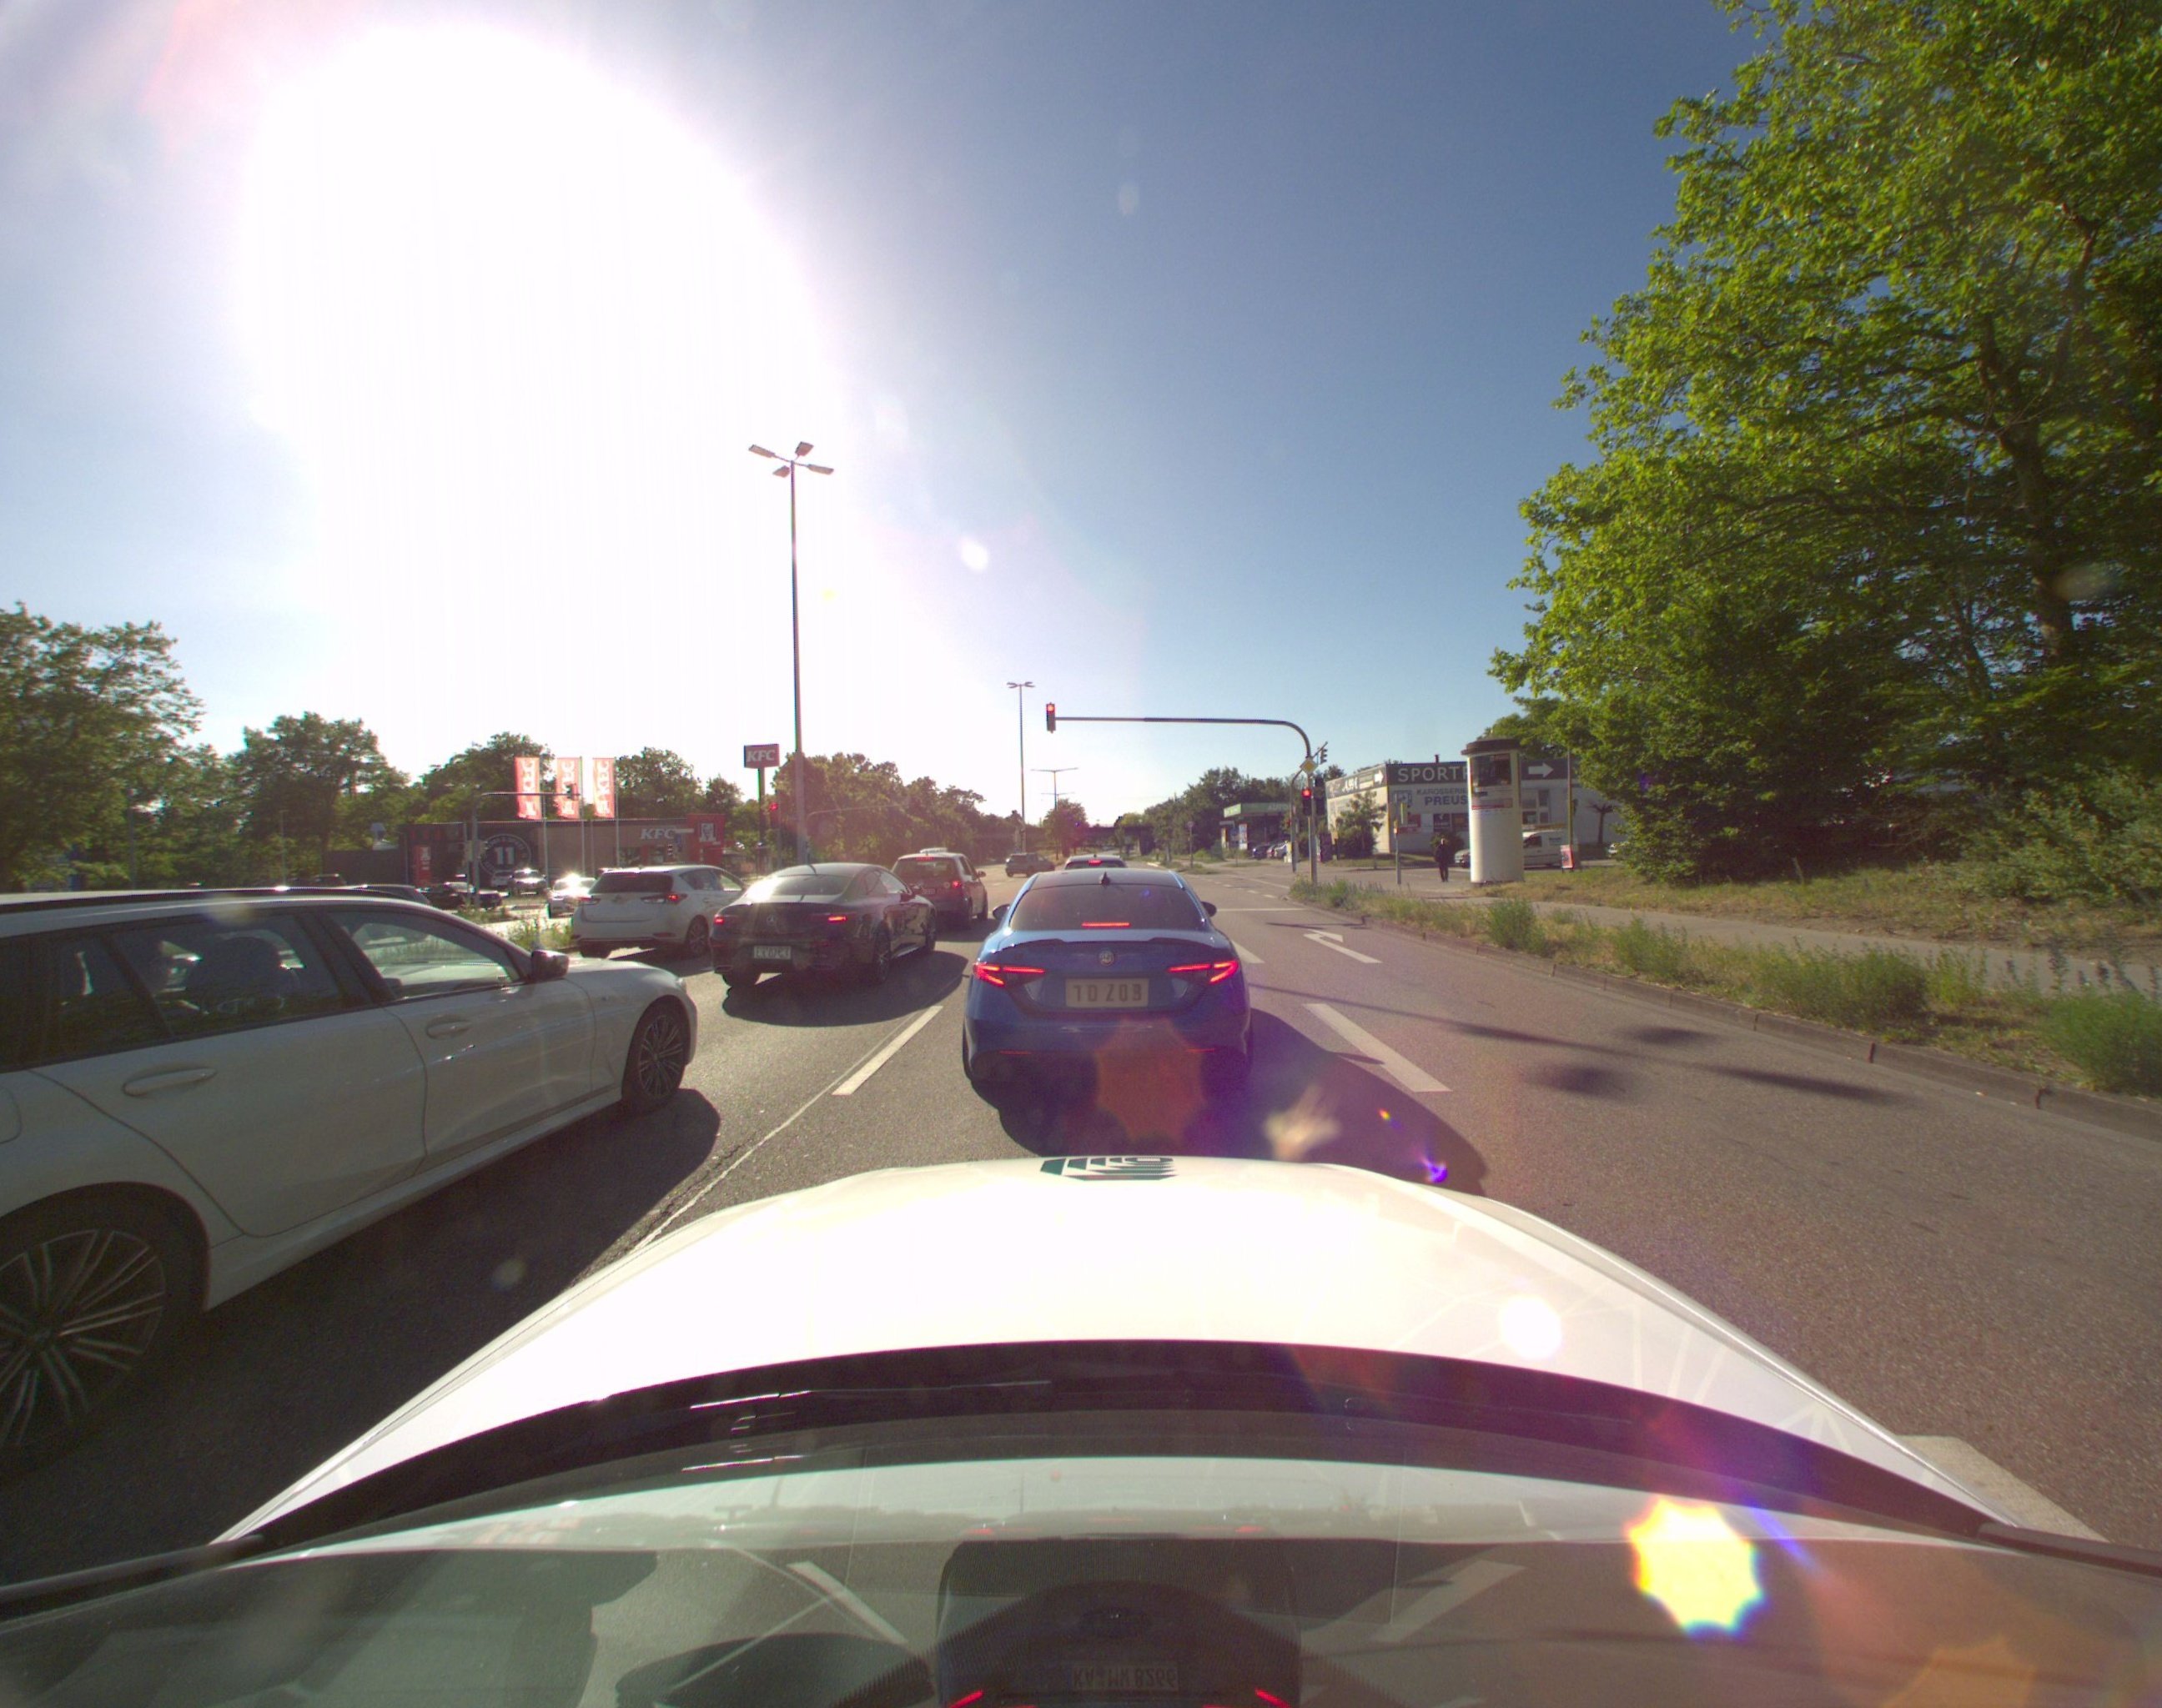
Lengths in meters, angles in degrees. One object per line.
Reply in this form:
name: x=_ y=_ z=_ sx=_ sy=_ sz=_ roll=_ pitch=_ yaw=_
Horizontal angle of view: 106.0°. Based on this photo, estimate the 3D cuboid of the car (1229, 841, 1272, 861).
car: x=15.378 y=-0.250 z=73.961 sx=3.489 sy=1.706 sz=1.687 roll=-1 pitch=0 yaw=-14

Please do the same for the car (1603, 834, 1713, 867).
car: x=30.253 y=-0.194 z=42.805 sx=4.393 sy=1.553 sz=1.999 roll=-1 pitch=0 yaw=-2

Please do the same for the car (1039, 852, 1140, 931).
car: x=0.228 y=0.700 z=17.189 sx=1.859 sy=1.450 sz=3.933 roll=-1 pitch=0 yaw=2

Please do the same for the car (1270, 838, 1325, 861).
car: x=17.505 y=-0.356 z=65.859 sx=3.993 sy=1.706 sz=1.687 roll=-1 pitch=0 yaw=-15

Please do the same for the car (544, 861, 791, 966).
car: x=-6.798 y=0.882 z=14.043 sx=1.850 sy=1.429 sz=4.405 roll=-1 pitch=0 yaw=2

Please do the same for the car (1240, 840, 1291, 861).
car: x=16.035 y=-0.287 z=70.752 sx=3.997 sy=1.706 sz=1.685 roll=-1 pitch=0 yaw=-18

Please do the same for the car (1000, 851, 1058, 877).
car: x=-3.391 y=0.642 z=54.215 sx=1.801 sy=1.595 sz=4.076 roll=-1 pitch=0 yaw=32

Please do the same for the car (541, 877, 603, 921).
car: x=-19.663 y=1.669 z=31.572 sx=1.869 sy=1.429 sz=4.689 roll=-2 pitch=0 yaw=-31

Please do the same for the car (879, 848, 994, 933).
car: x=-3.002 y=0.697 z=17.737 sx=1.642 sy=1.598 sz=3.933 roll=-1 pitch=0 yaw=2

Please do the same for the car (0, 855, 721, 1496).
car: x=-3.433 y=0.795 z=3.353 sx=1.762 sy=1.509 sz=4.463 roll=-1 pitch=0 yaw=2

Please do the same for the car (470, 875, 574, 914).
car: x=-28.344 y=2.056 z=41.340 sx=4.048 sy=1.794 sz=2.006 roll=-1 pitch=0 yaw=10

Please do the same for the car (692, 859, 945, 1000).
car: x=-3.146 y=0.811 z=10.825 sx=1.762 sy=1.414 sz=4.463 roll=-1 pitch=0 yaw=2

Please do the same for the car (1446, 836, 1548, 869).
car: x=21.948 y=-0.078 z=43.057 sx=4.393 sy=1.553 sz=1.999 roll=-1 pitch=0 yaw=-2

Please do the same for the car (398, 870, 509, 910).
car: x=-29.629 y=1.692 z=38.508 sx=3.967 sy=1.728 sz=1.761 roll=-1 pitch=0 yaw=5

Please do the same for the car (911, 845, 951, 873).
car: x=-13.649 y=0.437 z=74.528 sx=2.422 sy=2.427 sz=5.833 roll=-1 pitch=0 yaw=2

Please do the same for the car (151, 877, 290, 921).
car: x=-40.295 y=2.091 z=38.209 sx=4.263 sy=1.845 sz=1.999 roll=-1 pitch=0 yaw=-2

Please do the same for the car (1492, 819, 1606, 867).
car: x=22.627 y=-0.519 z=39.459 sx=4.393 sy=2.145 sz=1.999 roll=-1 pitch=0 yaw=-2

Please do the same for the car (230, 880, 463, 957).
car: x=-17.545 y=1.461 z=19.763 sx=1.812 sy=1.429 sz=4.052 roll=-3 pitch=0 yaw=2

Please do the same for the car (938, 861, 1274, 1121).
car: x=0.199 y=0.785 z=6.528 sx=1.859 sy=1.385 sz=3.933 roll=-1 pitch=0 yaw=2

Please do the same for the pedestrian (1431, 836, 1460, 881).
pedestrian: x=14.212 y=0.182 z=31.766 sx=0.818 sy=1.721 sz=0.856 roll=-2 pitch=0 yaw=9
